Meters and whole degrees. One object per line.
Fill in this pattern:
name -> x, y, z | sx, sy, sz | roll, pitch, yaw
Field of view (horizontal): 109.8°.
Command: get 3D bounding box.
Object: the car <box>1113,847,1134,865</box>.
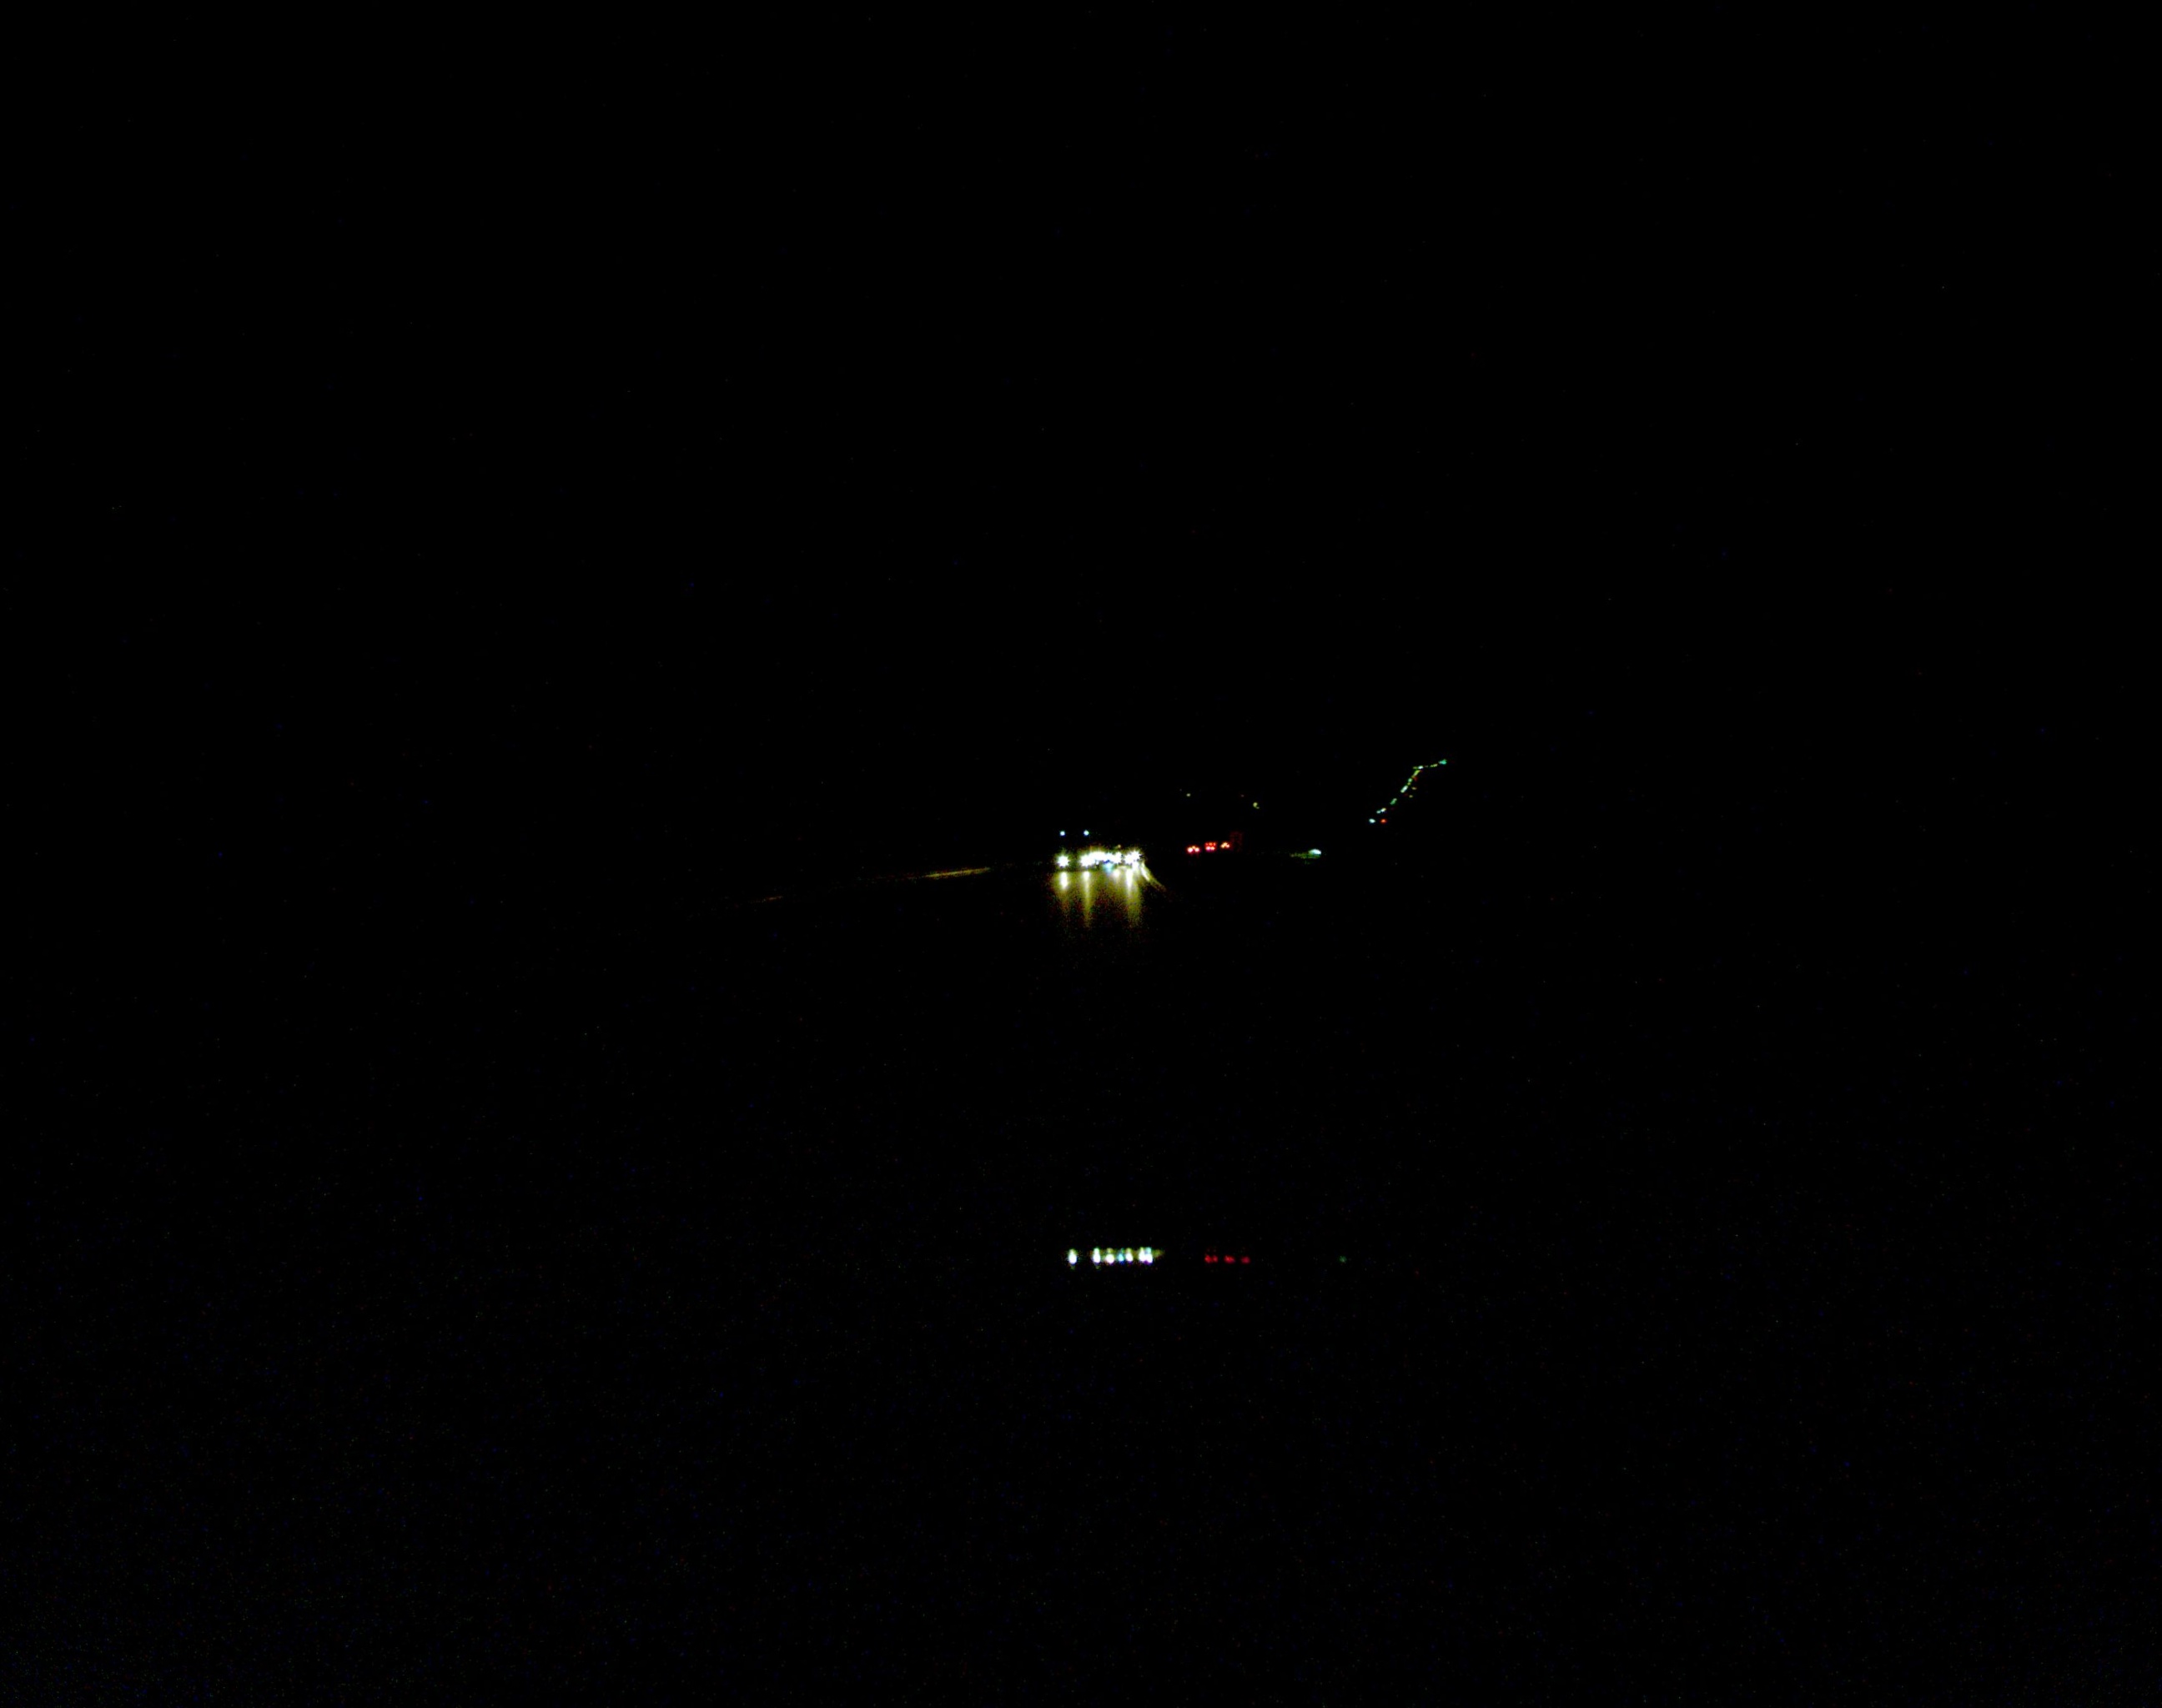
car -> 3.940, 0.181, 69.787 | 1.812, 1.508, 3.937 | -1, -1, 5

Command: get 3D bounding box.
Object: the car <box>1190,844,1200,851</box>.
car -> 24.882, -1.433, 166.161 | 1.811, 1.508, 3.939 | -2, -1, 12

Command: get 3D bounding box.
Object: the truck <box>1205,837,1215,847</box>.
truck -> 36.087, -3.374, 212.092 | 2.305, 2.460, 6.276 | -1, 2, 13

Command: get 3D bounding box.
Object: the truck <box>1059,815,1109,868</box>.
truck -> 0.570, -1.196, 70.570 | 2.970, 4.250, 17.148 | -1, 1, 6

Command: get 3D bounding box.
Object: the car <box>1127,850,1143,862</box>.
car -> 7.295, 0.332, 101.977 | 1.811, 1.508, 3.938 | -1, -1, 7

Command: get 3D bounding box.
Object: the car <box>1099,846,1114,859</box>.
car -> 3.211, -0.176, 95.444 | 1.690, 1.619, 4.724 | -1, -1, 4

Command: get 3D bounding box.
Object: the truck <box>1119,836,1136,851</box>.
truck -> 7.731, -1.743, 126.413 | 2.425, 2.410, 7.094 | -2, 0, 7
